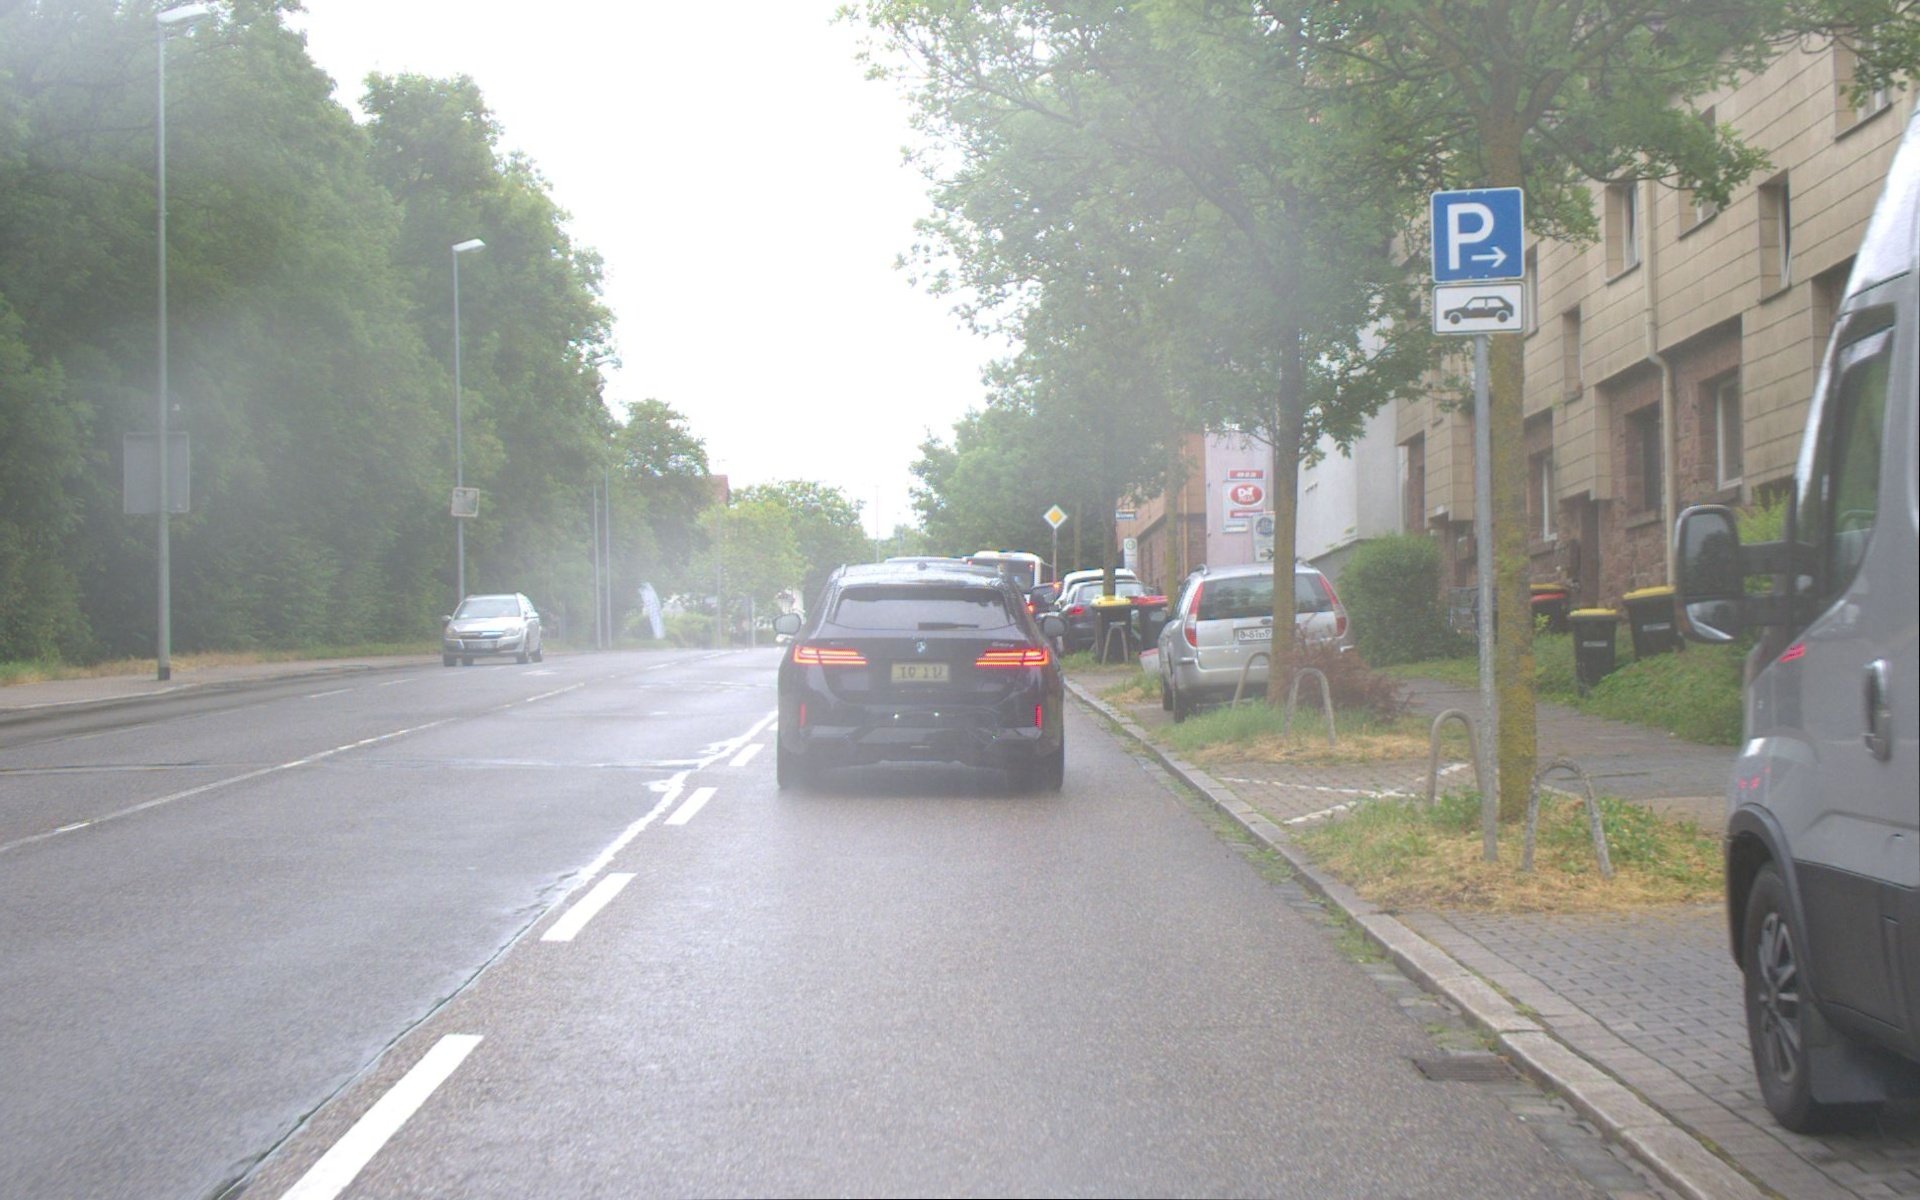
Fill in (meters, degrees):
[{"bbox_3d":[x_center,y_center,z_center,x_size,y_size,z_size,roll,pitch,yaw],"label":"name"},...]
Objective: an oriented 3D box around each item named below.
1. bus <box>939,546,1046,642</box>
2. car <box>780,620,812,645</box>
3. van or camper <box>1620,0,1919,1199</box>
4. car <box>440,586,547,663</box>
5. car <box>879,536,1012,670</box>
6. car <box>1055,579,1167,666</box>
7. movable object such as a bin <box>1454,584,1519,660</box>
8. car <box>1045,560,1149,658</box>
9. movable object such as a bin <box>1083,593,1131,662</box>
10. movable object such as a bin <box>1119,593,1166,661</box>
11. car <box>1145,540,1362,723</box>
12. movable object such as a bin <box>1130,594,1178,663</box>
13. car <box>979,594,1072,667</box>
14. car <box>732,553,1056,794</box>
[{"bbox_3d":[1.078,-0.216,108.331,2.623,2.838,8.287,-2,0,5],"label":"bus"},{"bbox_3d":[-10.391,2.050,218.149,1.770,1.528,4.000,-2,0,0],"label":"car"},{"bbox_3d":[3.014,-0.018,6.069,2.197,2.642,7.302,-2,1,0],"label":"van or camper"},{"bbox_3d":[-9.643,0.488,71.332,1.689,1.478,4.452,-2,0,-2],"label":"car"},{"bbox_3d":[-0.218,0.047,53.634,1.993,2.007,4.000,0,0,0],"label":"car"},{"bbox_3d":[2.594,0.383,59.843,1.641,1.444,3.998,-1,0,-2],"label":"car"},{"bbox_3d":[6.942,0.284,45.346,0.700,0.962,0.941,1,1,0],"label":"movable object such as a bin"},{"bbox_3d":[2.579,0.157,65.587,1.824,1.766,4.541,-1,0,1],"label":"car"},{"bbox_3d":[2.315,0.427,54.136,0.619,1.046,0.822,-3,0,-3],"label":"movable object such as a bin"},{"bbox_3d":[2.922,0.423,55.041,0.619,1.046,0.822,-3,0,-3],"label":"movable object such as a bin"},{"bbox_3d":[2.846,0.254,34.225,1.702,1.579,4.643,-4,1,1],"label":"car"},{"bbox_3d":[3.046,0.439,54.118,0.619,1.046,0.822,-3,0,-3],"label":"movable object such as a bin"},{"bbox_3d":[1.879,0.881,96.863,1.927,1.886,4.759,-4,-1,8],"label":"car"},{"bbox_3d":[-0.444,0.461,23.719,1.993,1.448,4.000,2,0,-1],"label":"car"}]
